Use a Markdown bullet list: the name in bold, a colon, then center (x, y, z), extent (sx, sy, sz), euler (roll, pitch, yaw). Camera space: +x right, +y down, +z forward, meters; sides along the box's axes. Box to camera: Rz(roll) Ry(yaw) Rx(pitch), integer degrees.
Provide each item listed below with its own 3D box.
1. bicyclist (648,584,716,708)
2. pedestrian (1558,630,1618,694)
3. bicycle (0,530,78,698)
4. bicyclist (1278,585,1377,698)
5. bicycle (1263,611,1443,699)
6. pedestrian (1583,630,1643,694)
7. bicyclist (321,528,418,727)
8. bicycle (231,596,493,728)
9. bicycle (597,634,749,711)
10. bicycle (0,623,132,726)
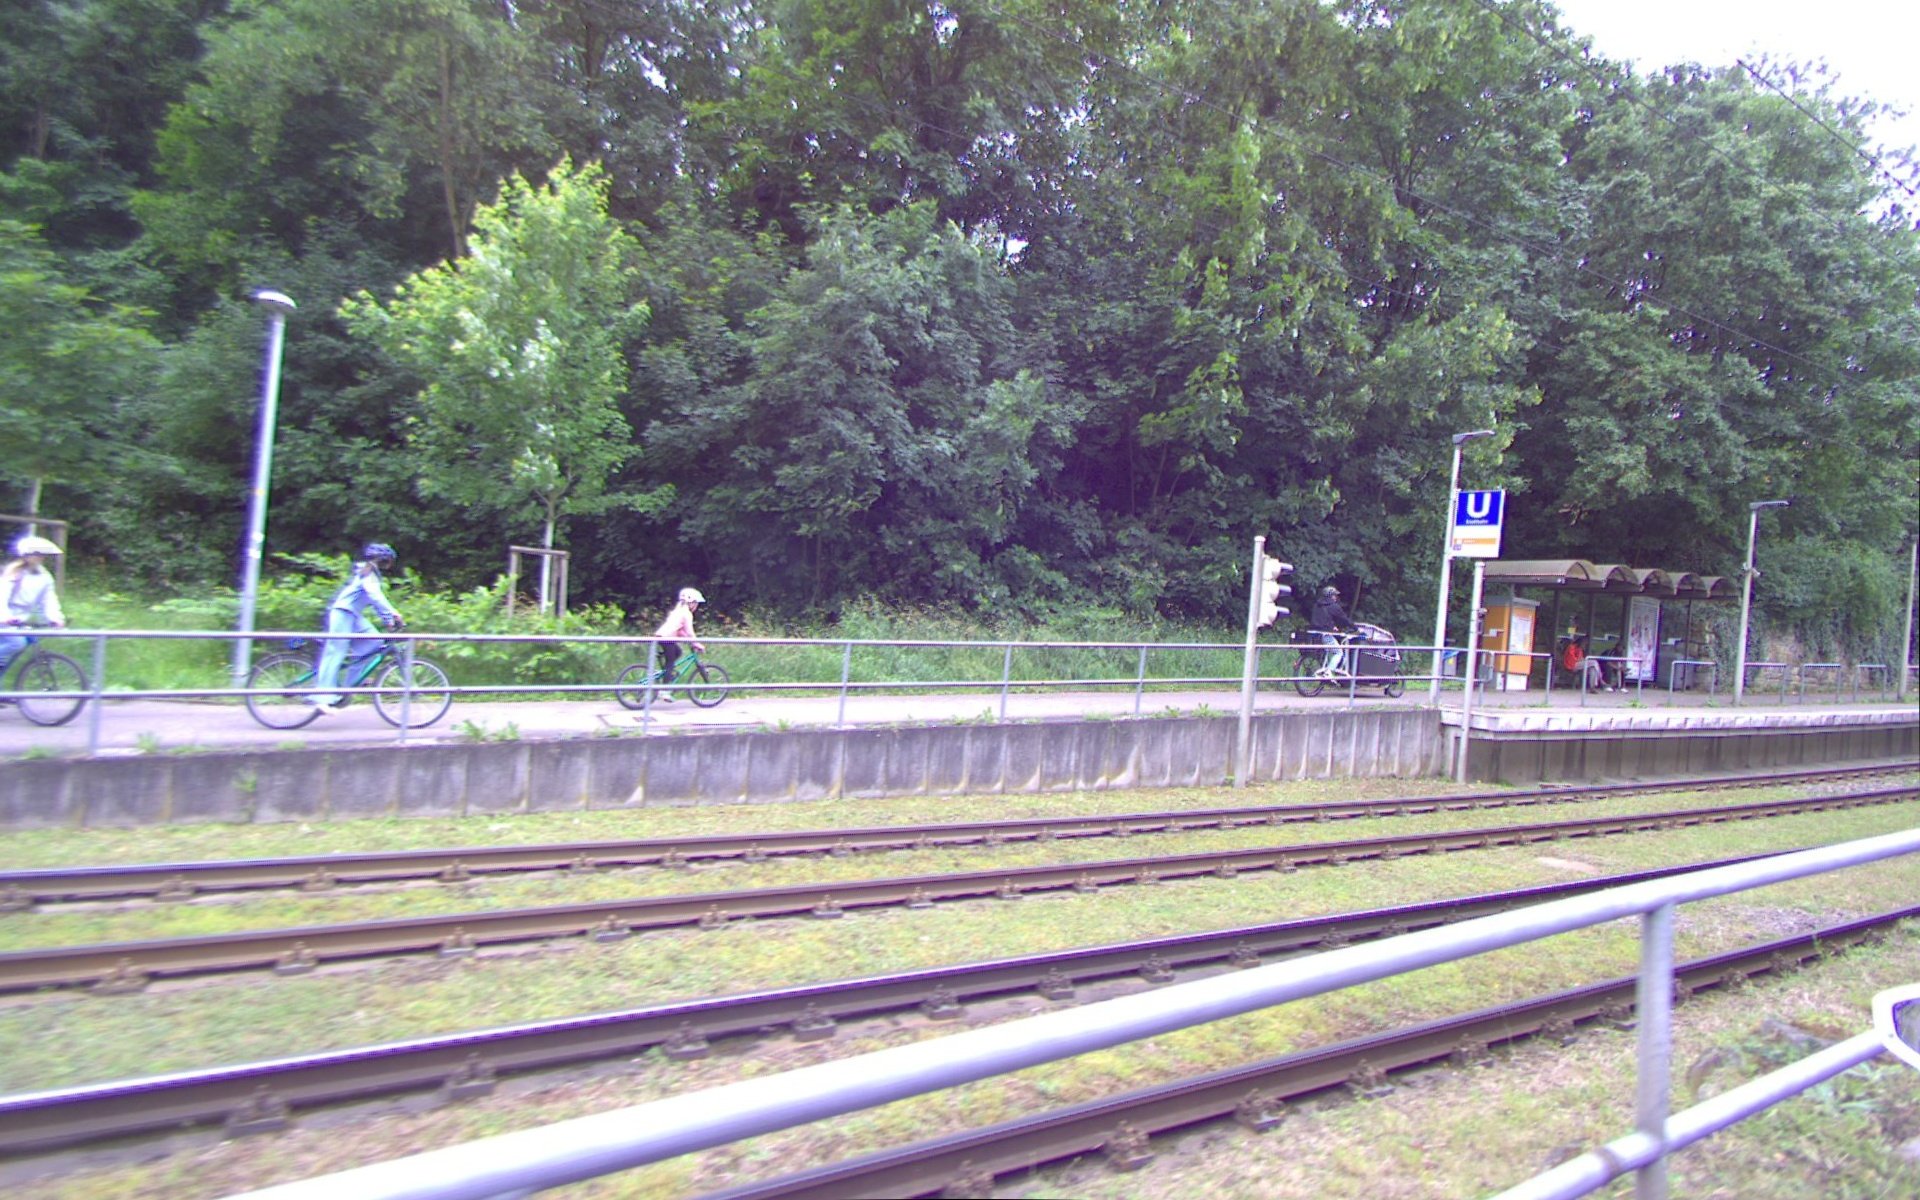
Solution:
- **bicyclist**: center (-3.084, 0.494, 11.133), extent (0.575, 1.319, 0.450), euler (0, 4, -34)
- **pedestrian**: center (14.228, 1.395, 22.775), extent (0.778, 1.344, 0.768), euler (3, 3, -30)
- **bicycle**: center (-7.893, 0.107, 8.454), extent (0.506, 1.348, 0.454), euler (4, 3, -4)
- **bicyclist**: center (5.998, 0.675, 16.402), extent (1.276, 1.734, 0.730), euler (2, 4, -28)
- **bicycle**: center (6.572, 0.911, 16.711), extent (3.304, 1.307, 0.730), euler (2, 3, -28)
- **pedestrian**: center (15.142, 1.441, 23.295), extent (0.778, 1.343, 0.768), euler (6, 2, -30)
- **bicyclist**: center (-5.239, 0.241, 8.937), extent (0.615, 1.697, 0.472), euler (3, 3, -25)
- **bicycle**: center (-5.255, 0.566, 8.956), extent (1.919, 1.055, 0.472), euler (4, 3, -25)
- **bicycle**: center (-3.154, 0.779, 11.116), extent (1.543, 0.749, 0.450), euler (1, 4, -35)
- **bicycle**: center (-8.020, 0.599, 8.470), extent (1.621, 0.748, 0.454), euler (4, 3, -4)
